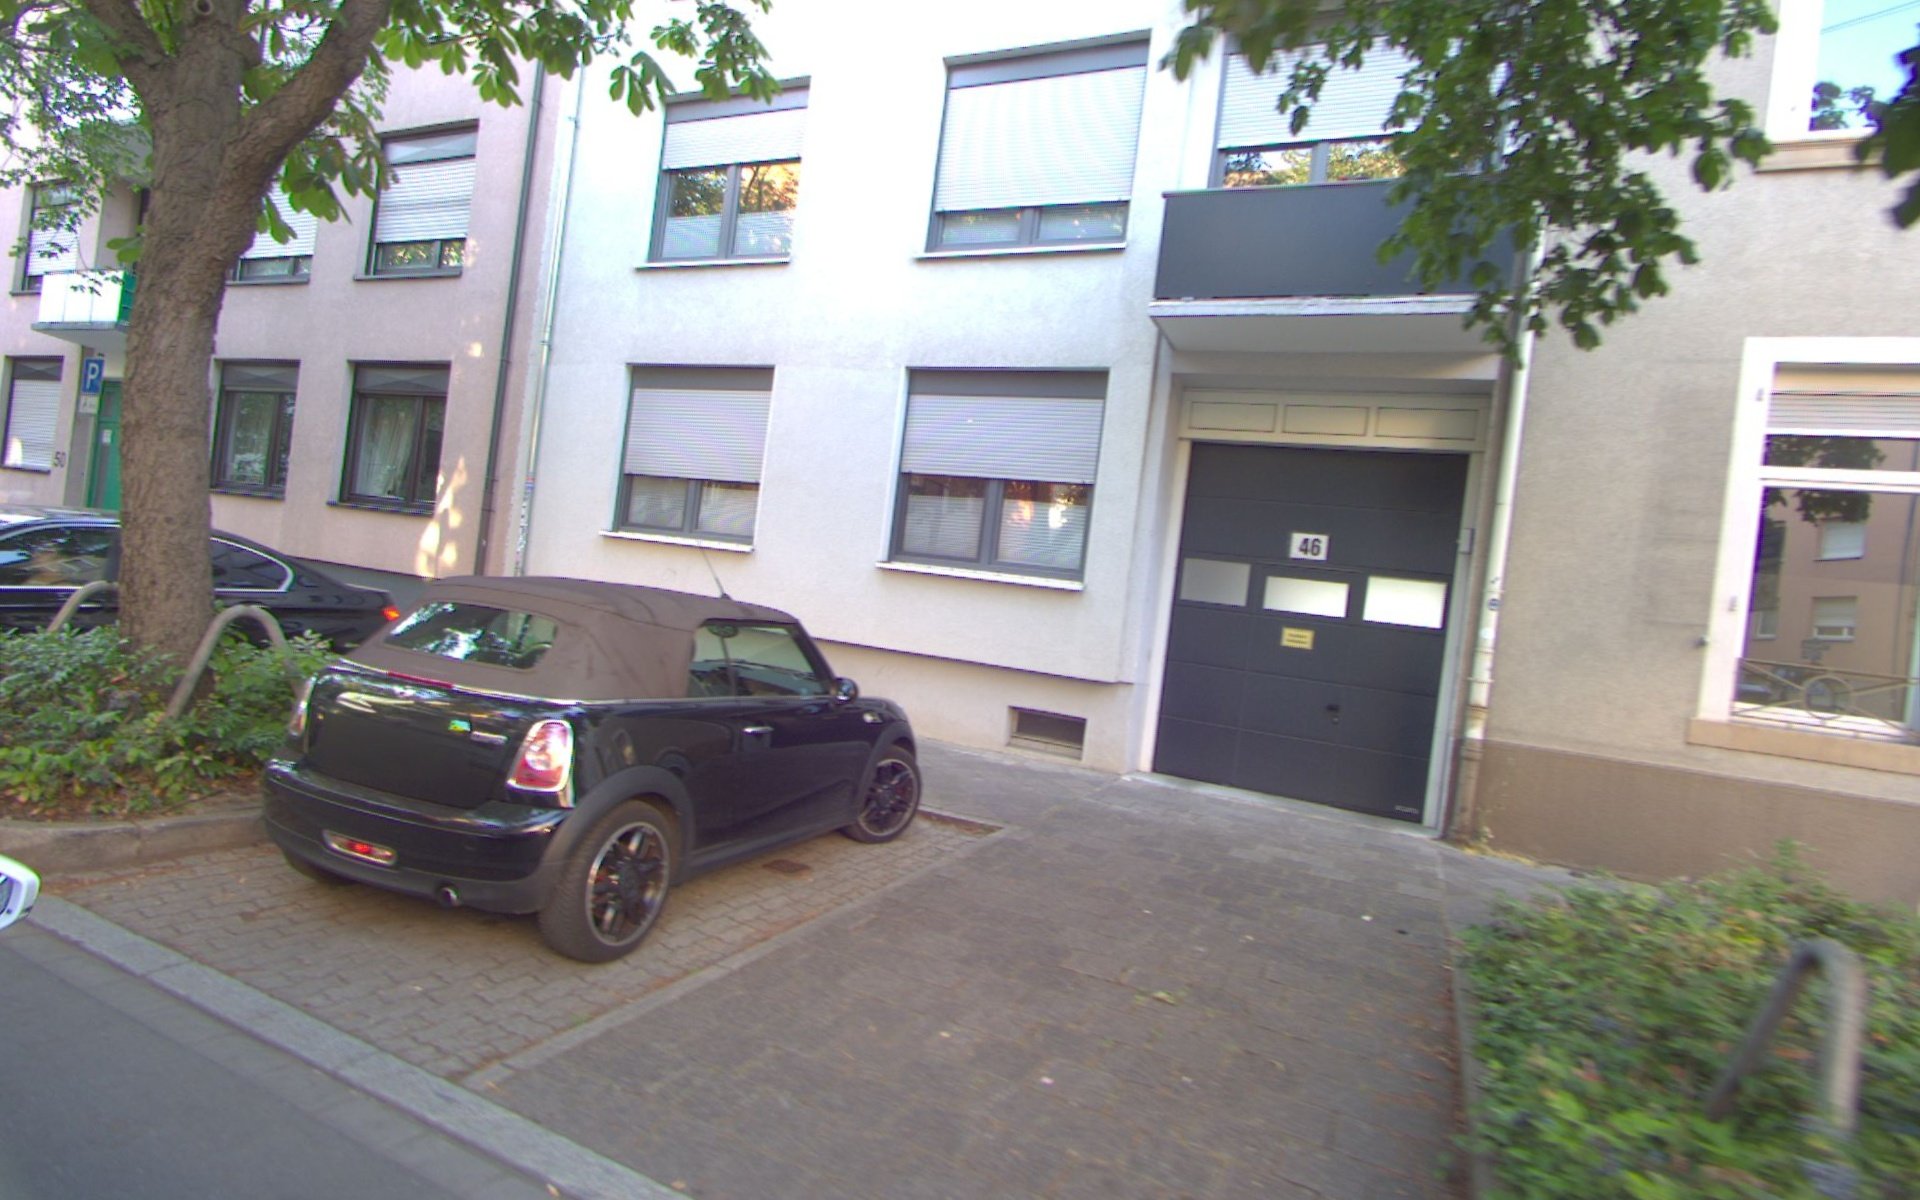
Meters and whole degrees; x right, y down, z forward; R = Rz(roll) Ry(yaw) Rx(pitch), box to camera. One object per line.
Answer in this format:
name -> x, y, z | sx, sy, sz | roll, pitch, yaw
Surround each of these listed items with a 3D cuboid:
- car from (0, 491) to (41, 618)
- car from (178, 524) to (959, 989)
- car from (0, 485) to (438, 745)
car -> -12.813, -0.741, 10.816 | 1.635, 1.494, 3.920 | 7, -1, 24
car -> -1.512, 0.595, 5.238 | 1.634, 1.380, 3.621 | 7, -1, 22
car -> -6.163, 0.024, 6.471 | 1.768, 1.497, 4.758 | 7, -1, 26
